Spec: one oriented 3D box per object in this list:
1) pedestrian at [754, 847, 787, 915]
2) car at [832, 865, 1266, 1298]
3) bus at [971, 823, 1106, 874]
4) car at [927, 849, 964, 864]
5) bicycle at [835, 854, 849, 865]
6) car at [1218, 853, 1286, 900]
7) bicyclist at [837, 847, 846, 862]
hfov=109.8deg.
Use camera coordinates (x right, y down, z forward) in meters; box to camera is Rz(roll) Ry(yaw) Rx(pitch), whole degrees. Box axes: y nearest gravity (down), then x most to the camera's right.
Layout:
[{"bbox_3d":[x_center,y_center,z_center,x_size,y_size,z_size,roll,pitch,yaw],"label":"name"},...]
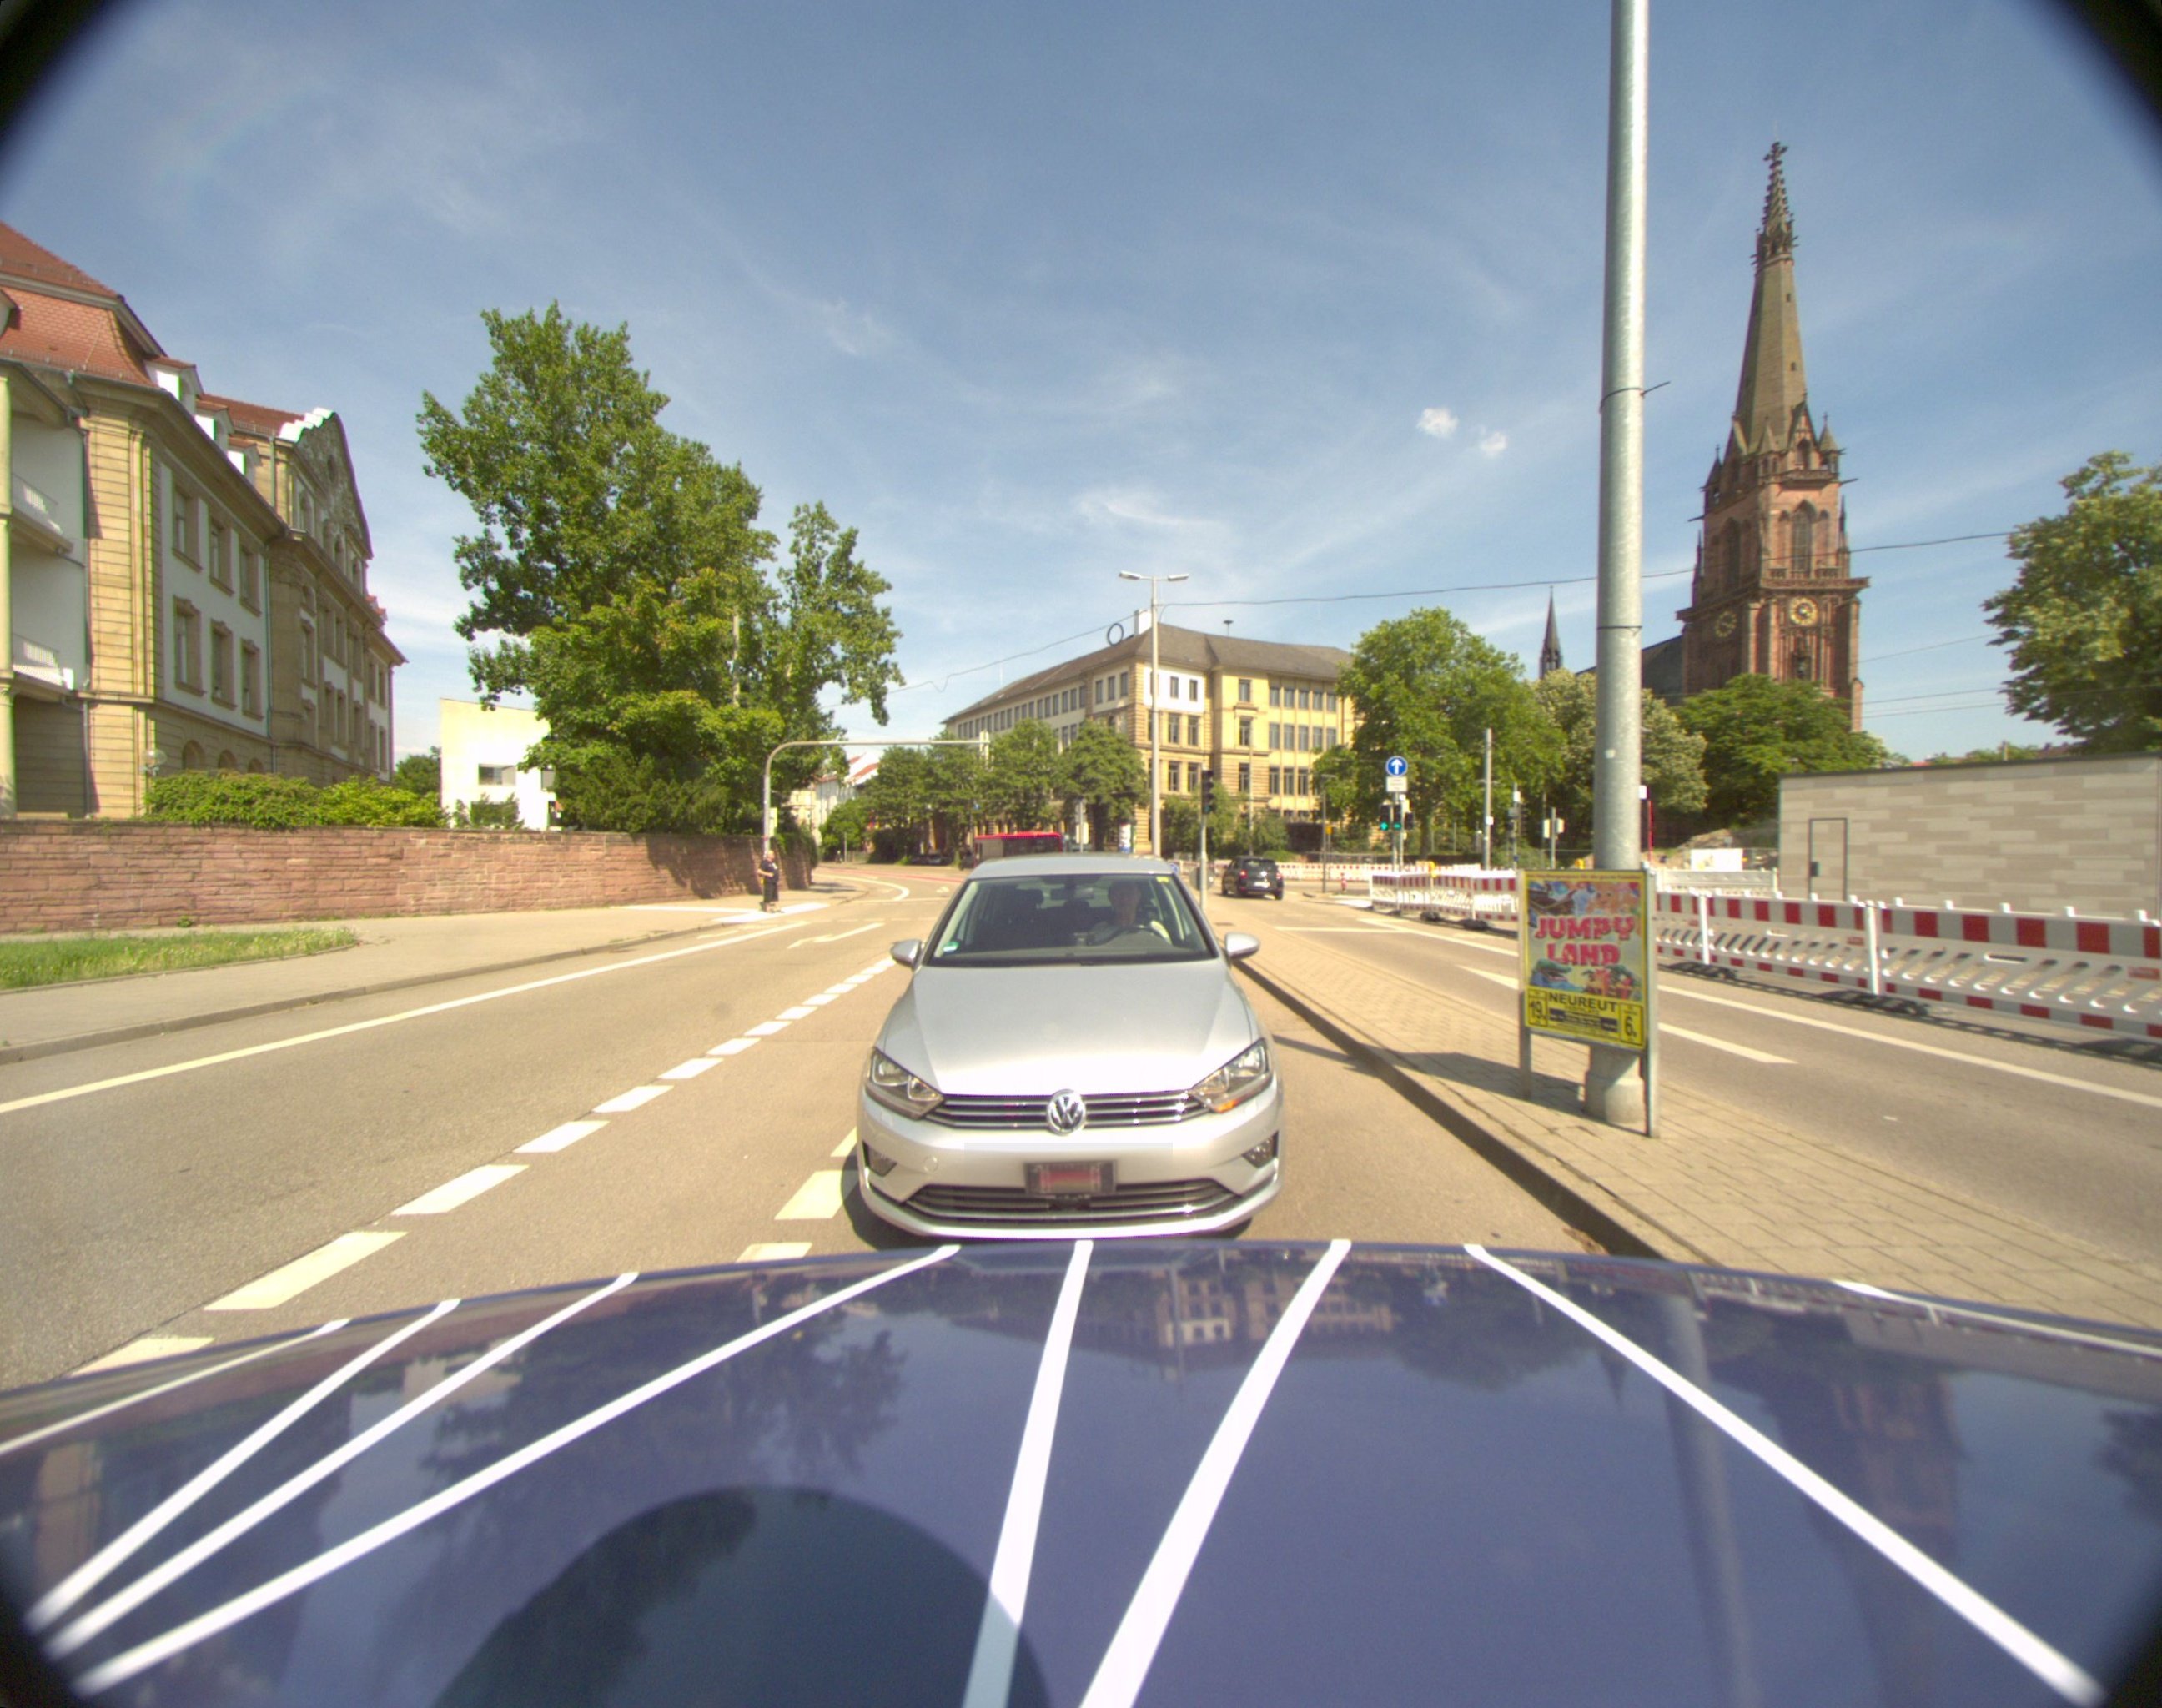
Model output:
[{"bbox_3d":[-9.181,0.784,22.481,0.796,2.002,0.615,0,1,-14],"label":"pedestrian"},{"bbox_3d":[-0.034,0.910,5.038,1.687,1.577,4.152,0,0,3],"label":"car"},{"bbox_3d":[-3.339,-0.278,52.763,3.138,3.076,12.381,-3,1,-35],"label":"bus"},{"bbox_3d":[-16.736,0.275,93.651,4.006,1.653,1.994,-3,4,-35],"label":"car"},{"bbox_3d":[-32.766,0.746,104.177,0.832,1.394,3.461,-3,1,-32],"label":"bicycle"},{"bbox_3d":[6.224,0.774,27.952,1.665,1.565,3.632,1,0,0],"label":"car"},{"bbox_3d":[-32.820,0.036,104.231,0.860,2.002,1.233,-3,1,-32],"label":"bicyclist"}]
